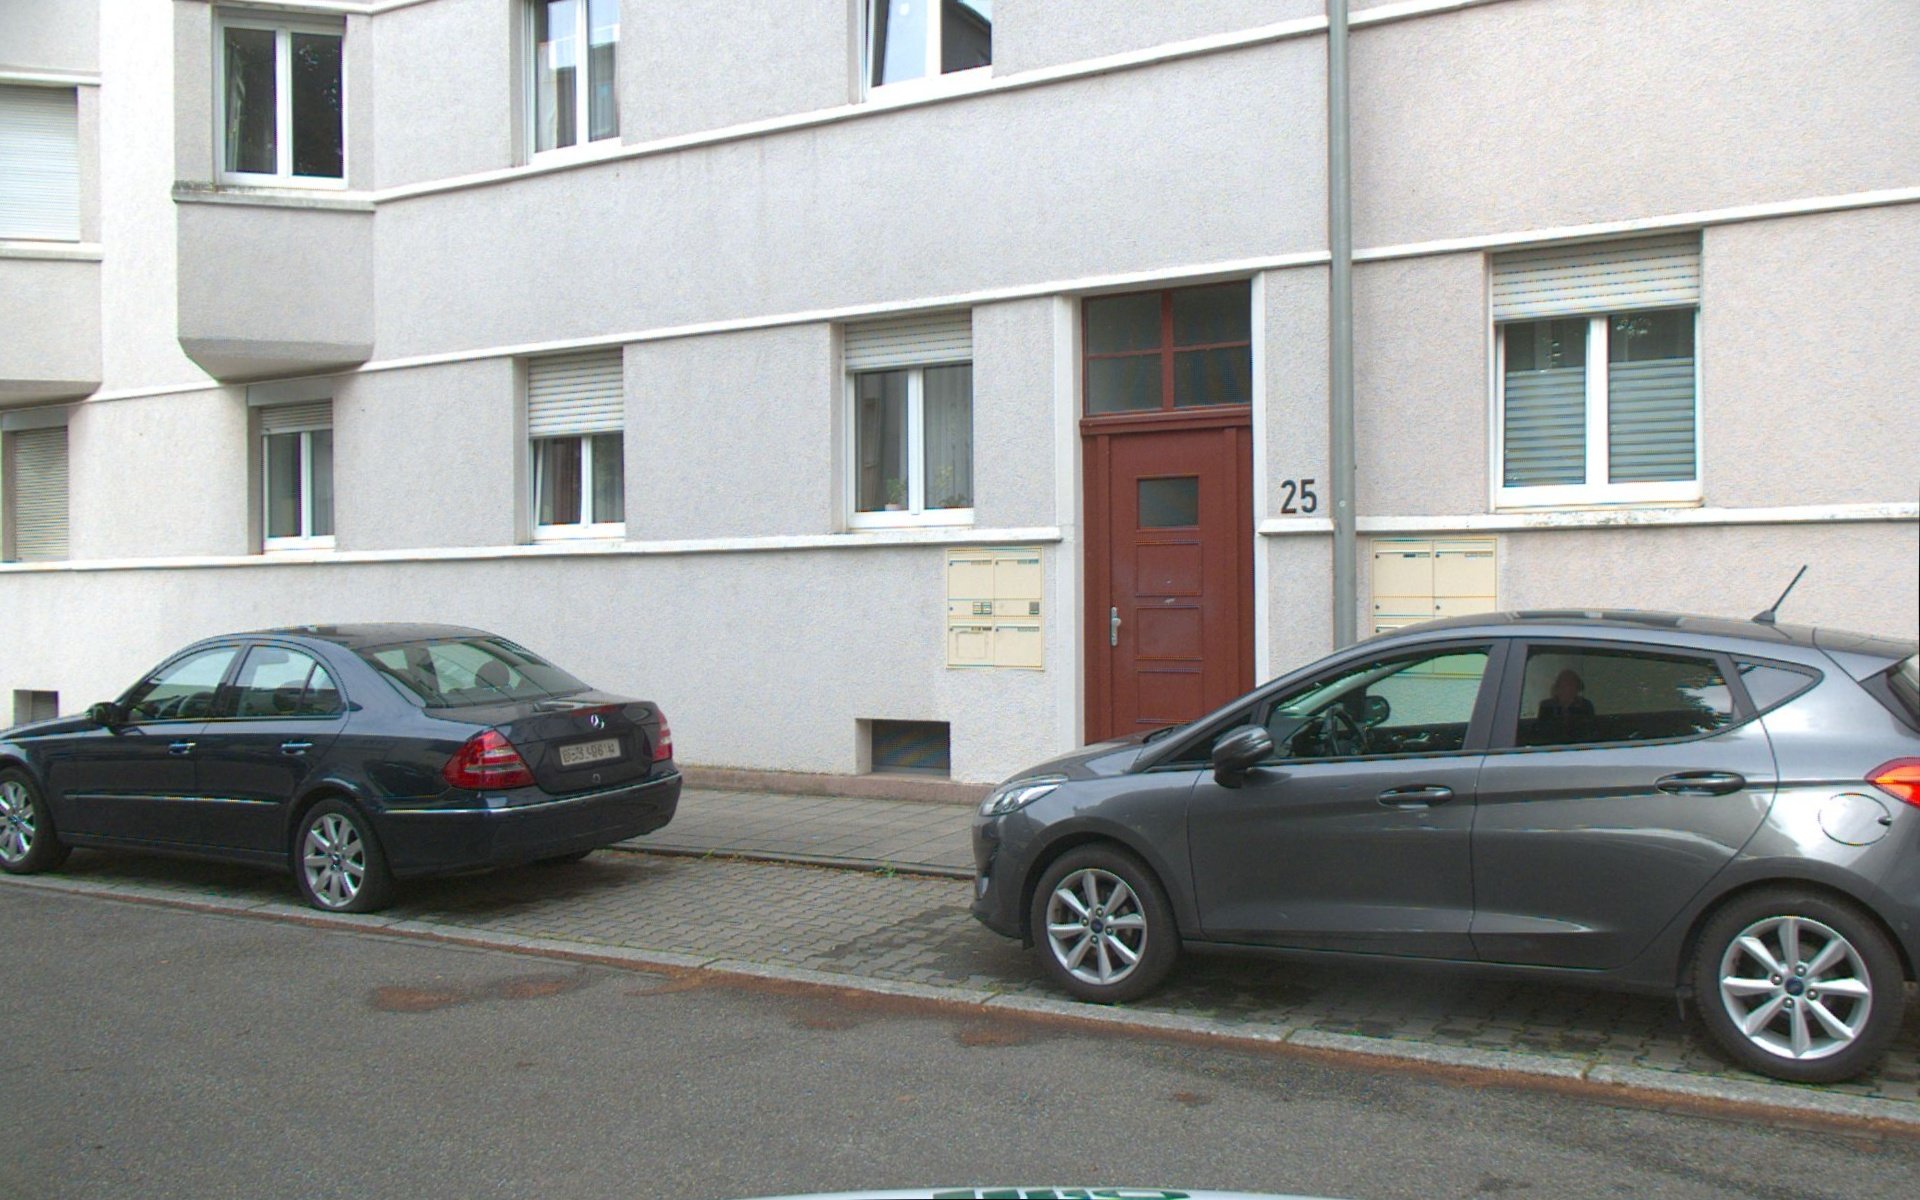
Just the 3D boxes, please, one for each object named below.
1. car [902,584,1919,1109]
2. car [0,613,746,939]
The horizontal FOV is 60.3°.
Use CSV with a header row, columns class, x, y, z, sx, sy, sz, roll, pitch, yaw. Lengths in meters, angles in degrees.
class,x,y,z,sx,sy,sz,roll,pitch,yaw
car,1.932,0.732,6.488,3.988,1.551,1.760,0,1,29
car,-3.730,0.837,9.648,4.840,1.445,1.748,0,1,29
